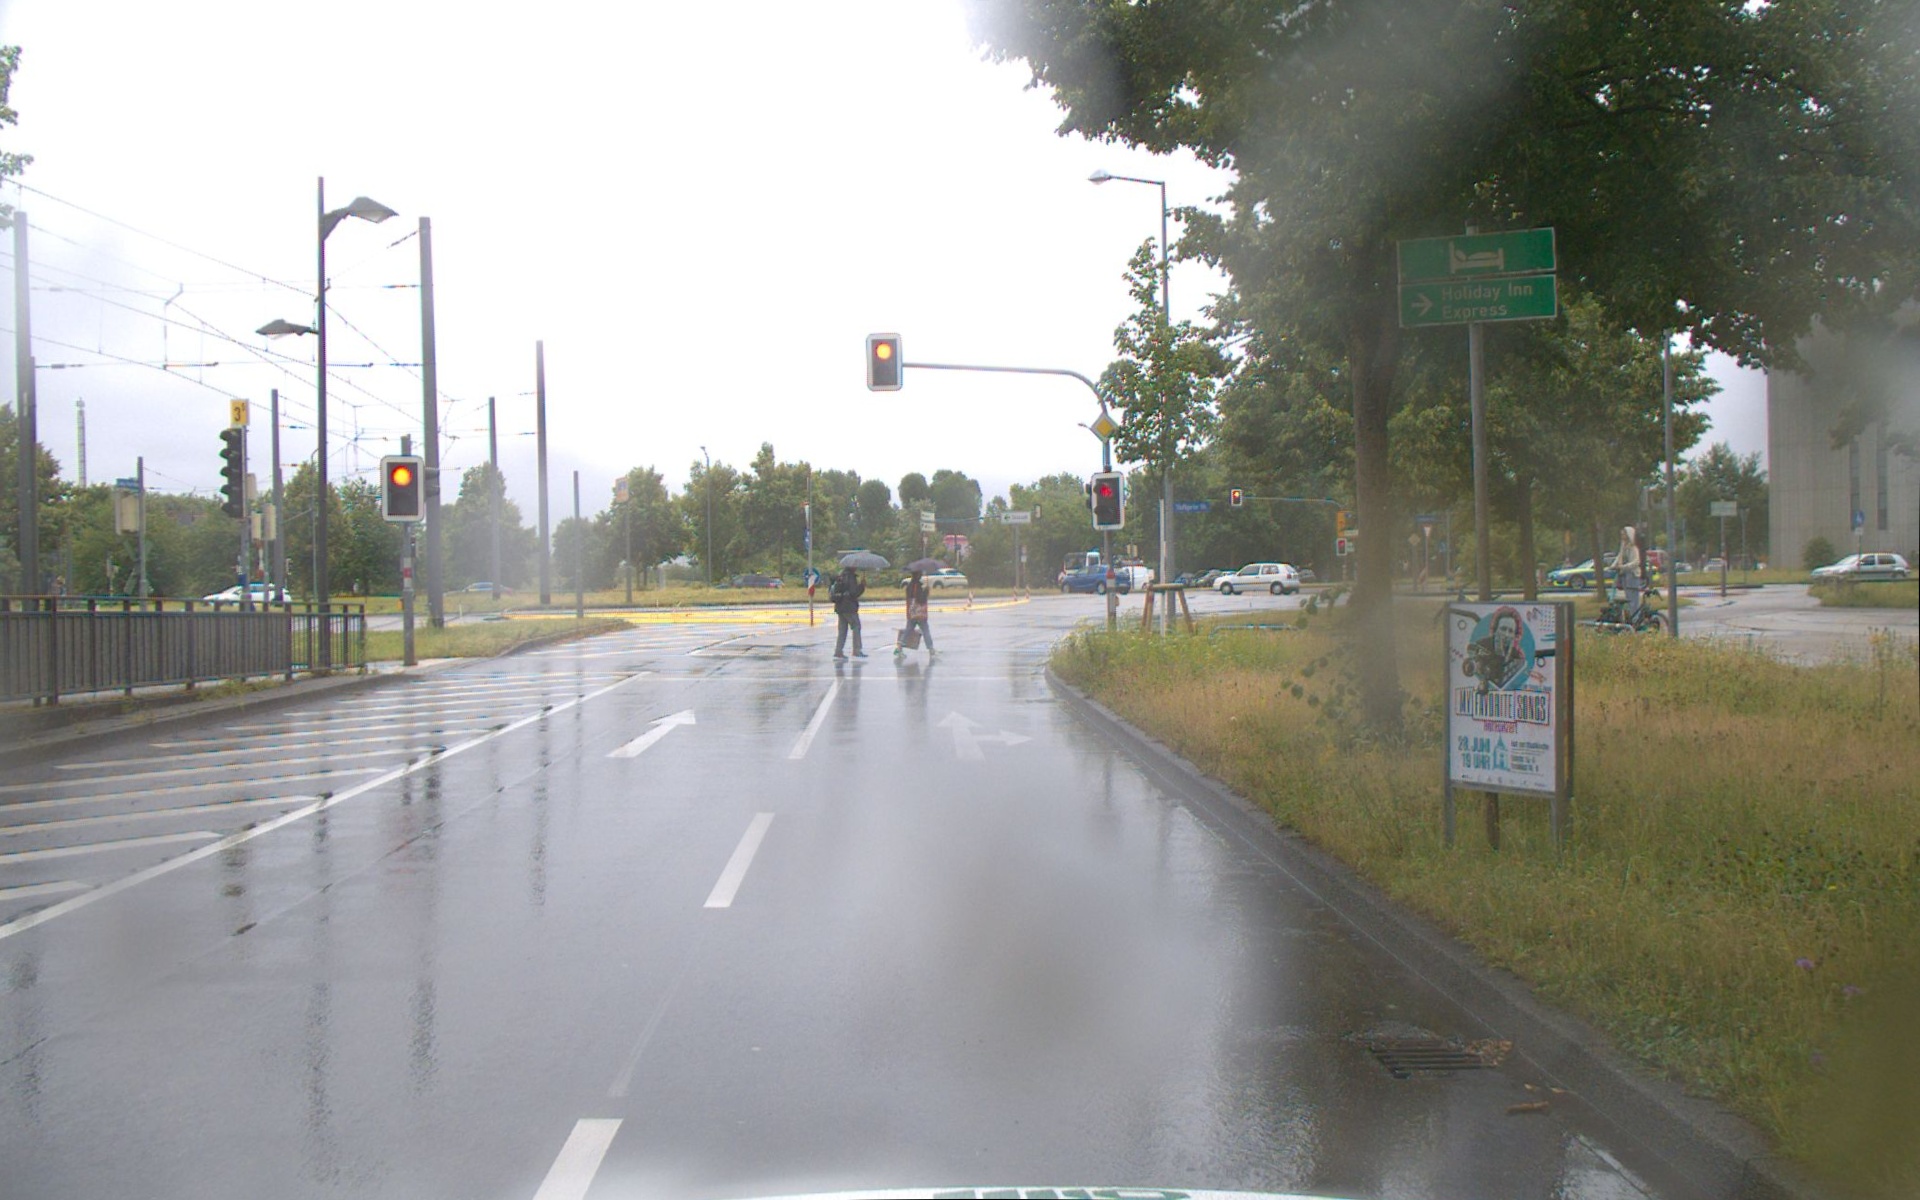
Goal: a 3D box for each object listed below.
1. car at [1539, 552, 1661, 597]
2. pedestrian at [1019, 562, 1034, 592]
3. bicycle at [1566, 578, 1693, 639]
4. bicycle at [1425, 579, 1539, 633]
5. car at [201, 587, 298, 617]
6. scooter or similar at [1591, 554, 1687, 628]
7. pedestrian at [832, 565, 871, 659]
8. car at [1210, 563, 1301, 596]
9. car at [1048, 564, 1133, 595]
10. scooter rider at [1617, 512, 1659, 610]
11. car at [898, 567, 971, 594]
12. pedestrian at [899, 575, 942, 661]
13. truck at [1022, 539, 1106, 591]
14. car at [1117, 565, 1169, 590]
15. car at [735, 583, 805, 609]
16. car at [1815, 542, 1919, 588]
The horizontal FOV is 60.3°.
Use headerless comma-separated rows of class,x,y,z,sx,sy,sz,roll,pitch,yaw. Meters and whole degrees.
car,28.404,-1.126,73.457,4.660,1.883,2.001,-1,1,3
pedestrian,3.033,-1.052,75.415,0.445,1.327,0.484,0,1,38
bicycle,9.210,0.110,22.833,0.445,0.800,1.999,1,0,-17
bicycle,8.047,0.085,25.557,0.376,0.800,1.837,1,0,-34
car,-38.645,0.091,90.023,4.589,1.479,1.597,-2,1,-45
scooter or similar,12.155,-0.158,29.613,1.555,1.281,0.447,1,0,-7
pedestrian,-1.834,0.195,28.044,0.608,1.549,0.741,1,1,-3
car,13.733,-0.964,76.956,3.895,1.479,1.623,0,1,25
car,6.427,-1.008,81.490,3.907,1.479,1.618,0,1,36
scooter rider,12.146,-0.694,29.632,0.521,1.739,0.433,-2,1,-7
car,-1.451,-1.087,92.693,4.038,1.479,1.614,0,1,41
pedestrian,-0.703,0.314,29.109,0.667,1.486,0.573,-2,0,-6
truck,6.081,-1.981,95.270,2.411,2.733,8.059,1,0,22
car,13.242,-1.633,119.818,1.769,1.691,4.113,1,0,40
car,-11.464,-0.259,99.902,3.889,1.479,1.625,-1,1,13
car,41.121,-1.553,74.008,4.659,1.883,2.001,1,0,5
